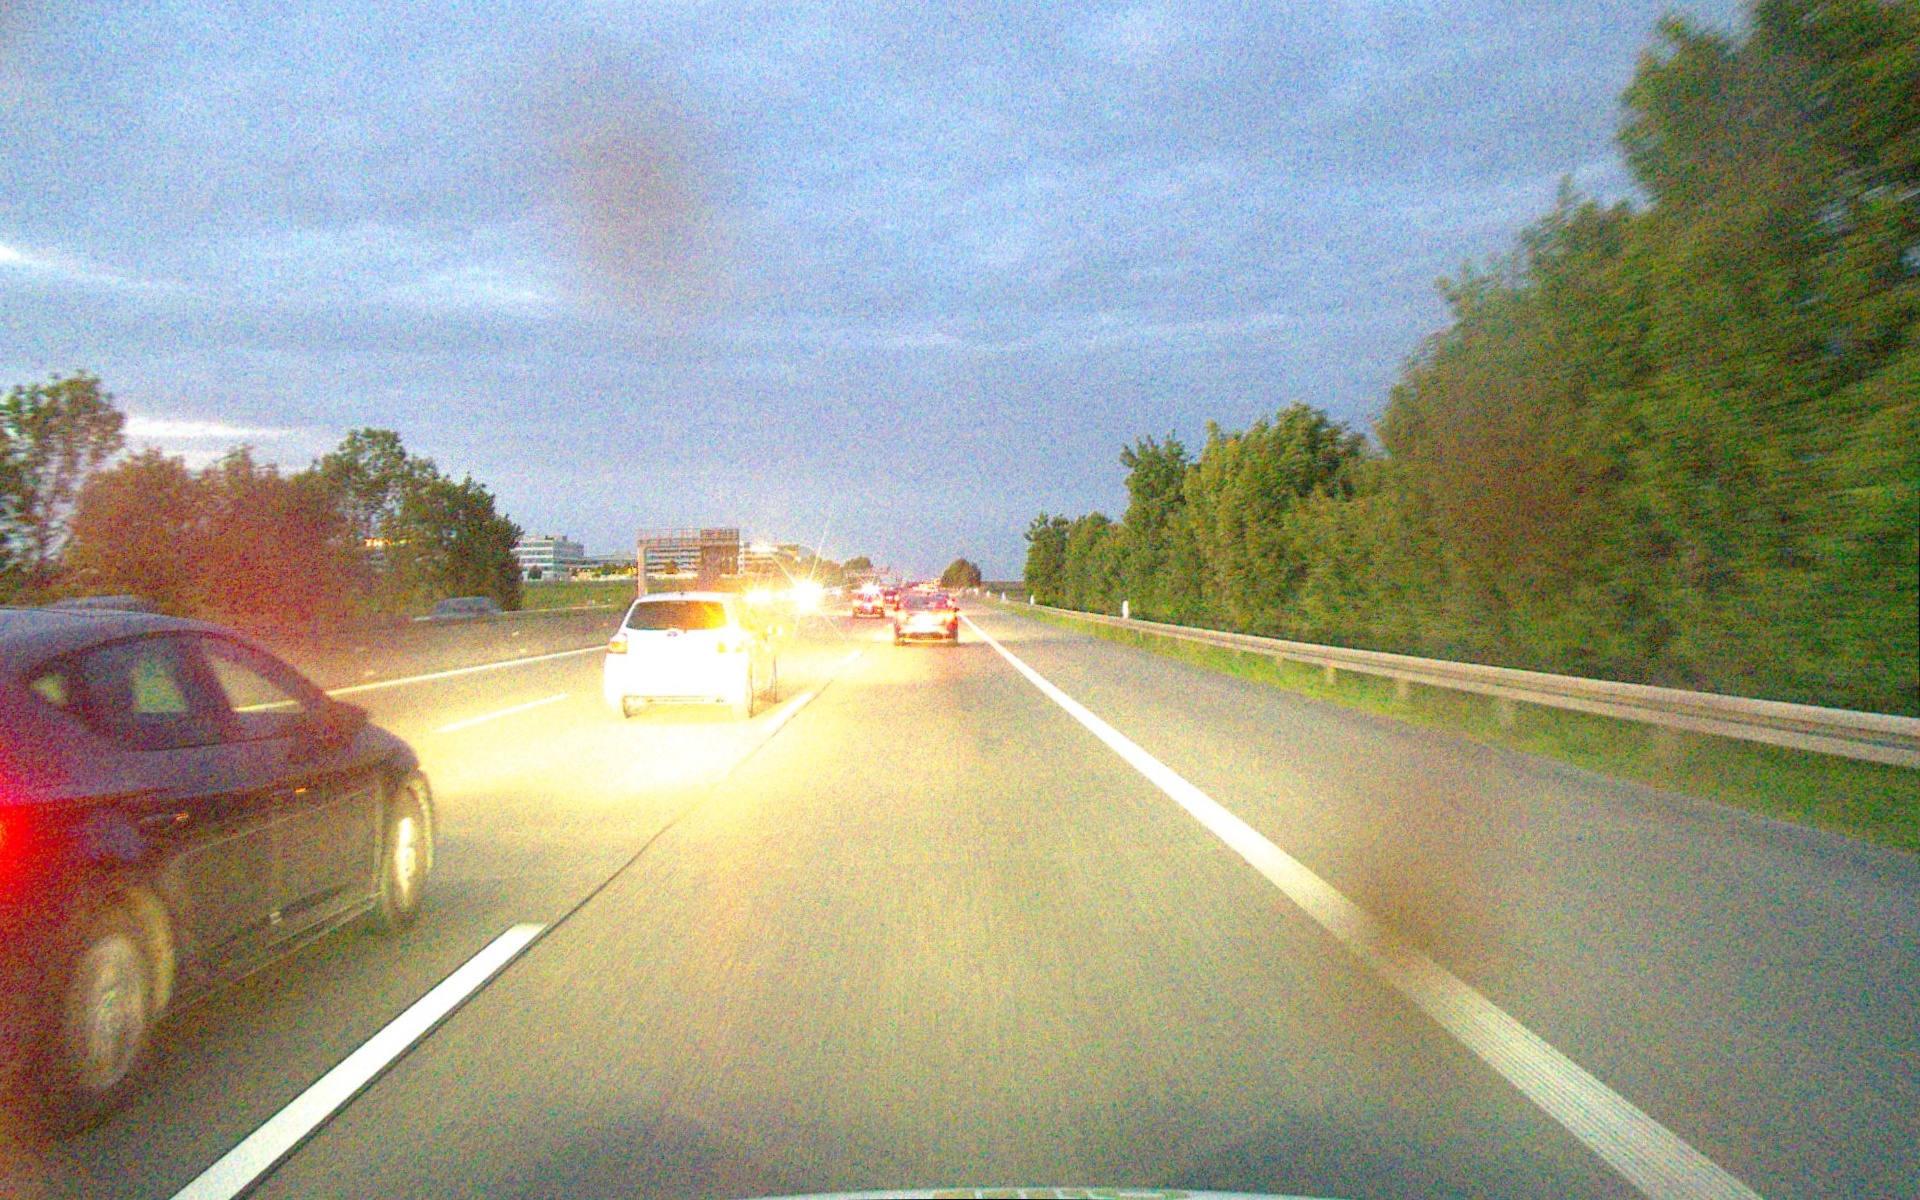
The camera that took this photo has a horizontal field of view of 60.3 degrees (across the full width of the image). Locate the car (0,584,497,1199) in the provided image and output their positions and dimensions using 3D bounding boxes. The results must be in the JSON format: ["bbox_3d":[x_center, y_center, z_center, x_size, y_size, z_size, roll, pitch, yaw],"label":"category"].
[{"bbox_3d":[-3.115,0.706,5.914,1.688,1.497,4.724,1,0,-2],"label":"car"}]

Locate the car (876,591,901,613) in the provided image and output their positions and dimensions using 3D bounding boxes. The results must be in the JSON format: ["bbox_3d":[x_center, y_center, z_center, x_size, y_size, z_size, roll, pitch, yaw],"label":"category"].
[{"bbox_3d":[-6.415,0.184,148.799,2.154,1.912,3.999,1,0,-1],"label":"car"}]

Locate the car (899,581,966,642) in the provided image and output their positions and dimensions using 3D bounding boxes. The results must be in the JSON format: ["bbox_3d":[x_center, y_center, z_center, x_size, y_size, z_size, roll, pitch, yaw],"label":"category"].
[{"bbox_3d":[-0.820,0.335,48.267,1.842,1.672,3.999,1,0,-1],"label":"car"}]

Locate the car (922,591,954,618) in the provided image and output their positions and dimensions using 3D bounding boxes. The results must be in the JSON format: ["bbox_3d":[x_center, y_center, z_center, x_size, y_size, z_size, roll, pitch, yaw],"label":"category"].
[{"bbox_3d":[-1.360,0.272,100.317,1.842,1.579,3.998,1,0,-2],"label":"car"}]

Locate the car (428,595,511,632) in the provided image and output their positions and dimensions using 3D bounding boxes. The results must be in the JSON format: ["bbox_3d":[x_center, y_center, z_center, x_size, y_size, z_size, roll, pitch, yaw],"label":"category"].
[{"bbox_3d":[-16.479,0.445,55.726,1.631,1.199,3.999,1,0,-1],"label":"car"}]

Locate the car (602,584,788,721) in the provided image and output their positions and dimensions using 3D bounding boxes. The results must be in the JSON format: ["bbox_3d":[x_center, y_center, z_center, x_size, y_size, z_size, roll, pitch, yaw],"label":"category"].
[{"bbox_3d":[-3.273,0.613,21.234,1.709,1.551,4.413,1,0,-1],"label":"car"}]

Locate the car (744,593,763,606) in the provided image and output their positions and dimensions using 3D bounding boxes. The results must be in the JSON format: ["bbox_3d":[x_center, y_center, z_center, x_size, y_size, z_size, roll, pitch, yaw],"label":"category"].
[{"bbox_3d":[-22.758,-0.005,182.327,1.709,1.386,4.110,1,0,-1],"label":"car"}]

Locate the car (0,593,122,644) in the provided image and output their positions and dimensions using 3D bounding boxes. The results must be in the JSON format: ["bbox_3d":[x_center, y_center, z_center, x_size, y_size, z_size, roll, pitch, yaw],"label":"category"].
[{"bbox_3d":[-22.906,0.448,41.577,1.683,1.199,3.999,1,0,-1],"label":"car"}]

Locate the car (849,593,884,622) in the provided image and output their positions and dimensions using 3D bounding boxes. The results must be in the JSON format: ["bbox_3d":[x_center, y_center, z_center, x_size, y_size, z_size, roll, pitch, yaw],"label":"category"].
[{"bbox_3d":[-5.272,0.404,93.188,1.842,1.579,3.998,1,0,-2],"label":"car"}]

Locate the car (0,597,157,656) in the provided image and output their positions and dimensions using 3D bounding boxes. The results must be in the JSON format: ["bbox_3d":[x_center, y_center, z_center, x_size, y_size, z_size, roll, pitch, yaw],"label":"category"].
[{"bbox_3d":[-19.473,0.556,36.183,1.892,1.199,3.999,1,0,-1],"label":"car"}]
